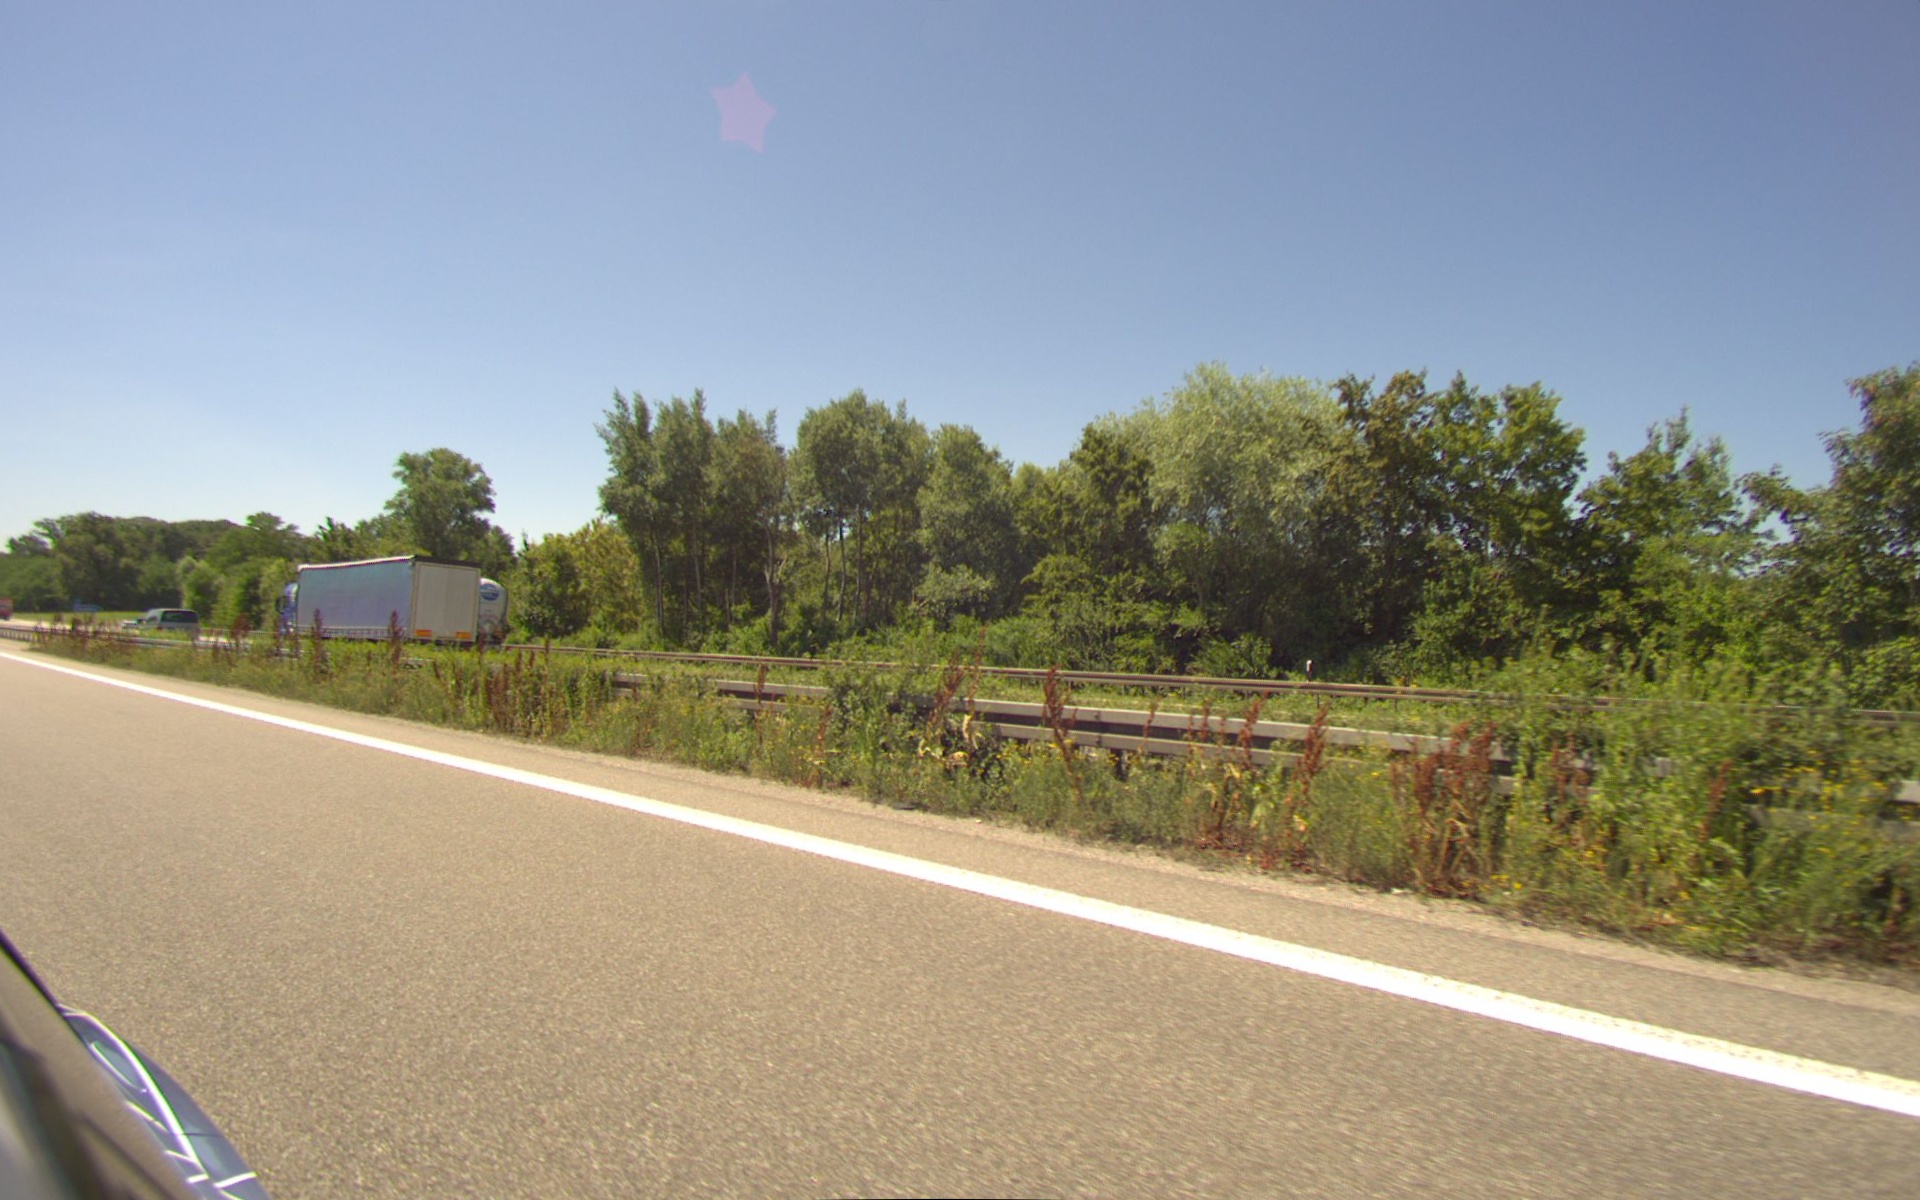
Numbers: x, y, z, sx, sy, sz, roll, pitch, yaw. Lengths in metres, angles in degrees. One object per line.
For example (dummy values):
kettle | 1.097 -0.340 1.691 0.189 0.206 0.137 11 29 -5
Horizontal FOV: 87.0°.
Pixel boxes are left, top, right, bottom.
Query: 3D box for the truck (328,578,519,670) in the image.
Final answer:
truck | -27.352 1.201 50.860 15.812 4.049 2.924 -1 -3 41

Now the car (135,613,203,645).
car | -40.990 1.491 52.404 4.817 1.602 1.972 -1 -3 42

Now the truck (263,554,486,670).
truck | -25.925 0.588 43.966 17.173 4.278 2.924 -1 -3 41

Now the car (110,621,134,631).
car | -121.151 3.761 146.224 4.972 1.423 1.972 -1 -2 42

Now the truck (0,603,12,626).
truck | -163.804 2.476 171.989 9.802 3.755 3.032 -1 -2 42
